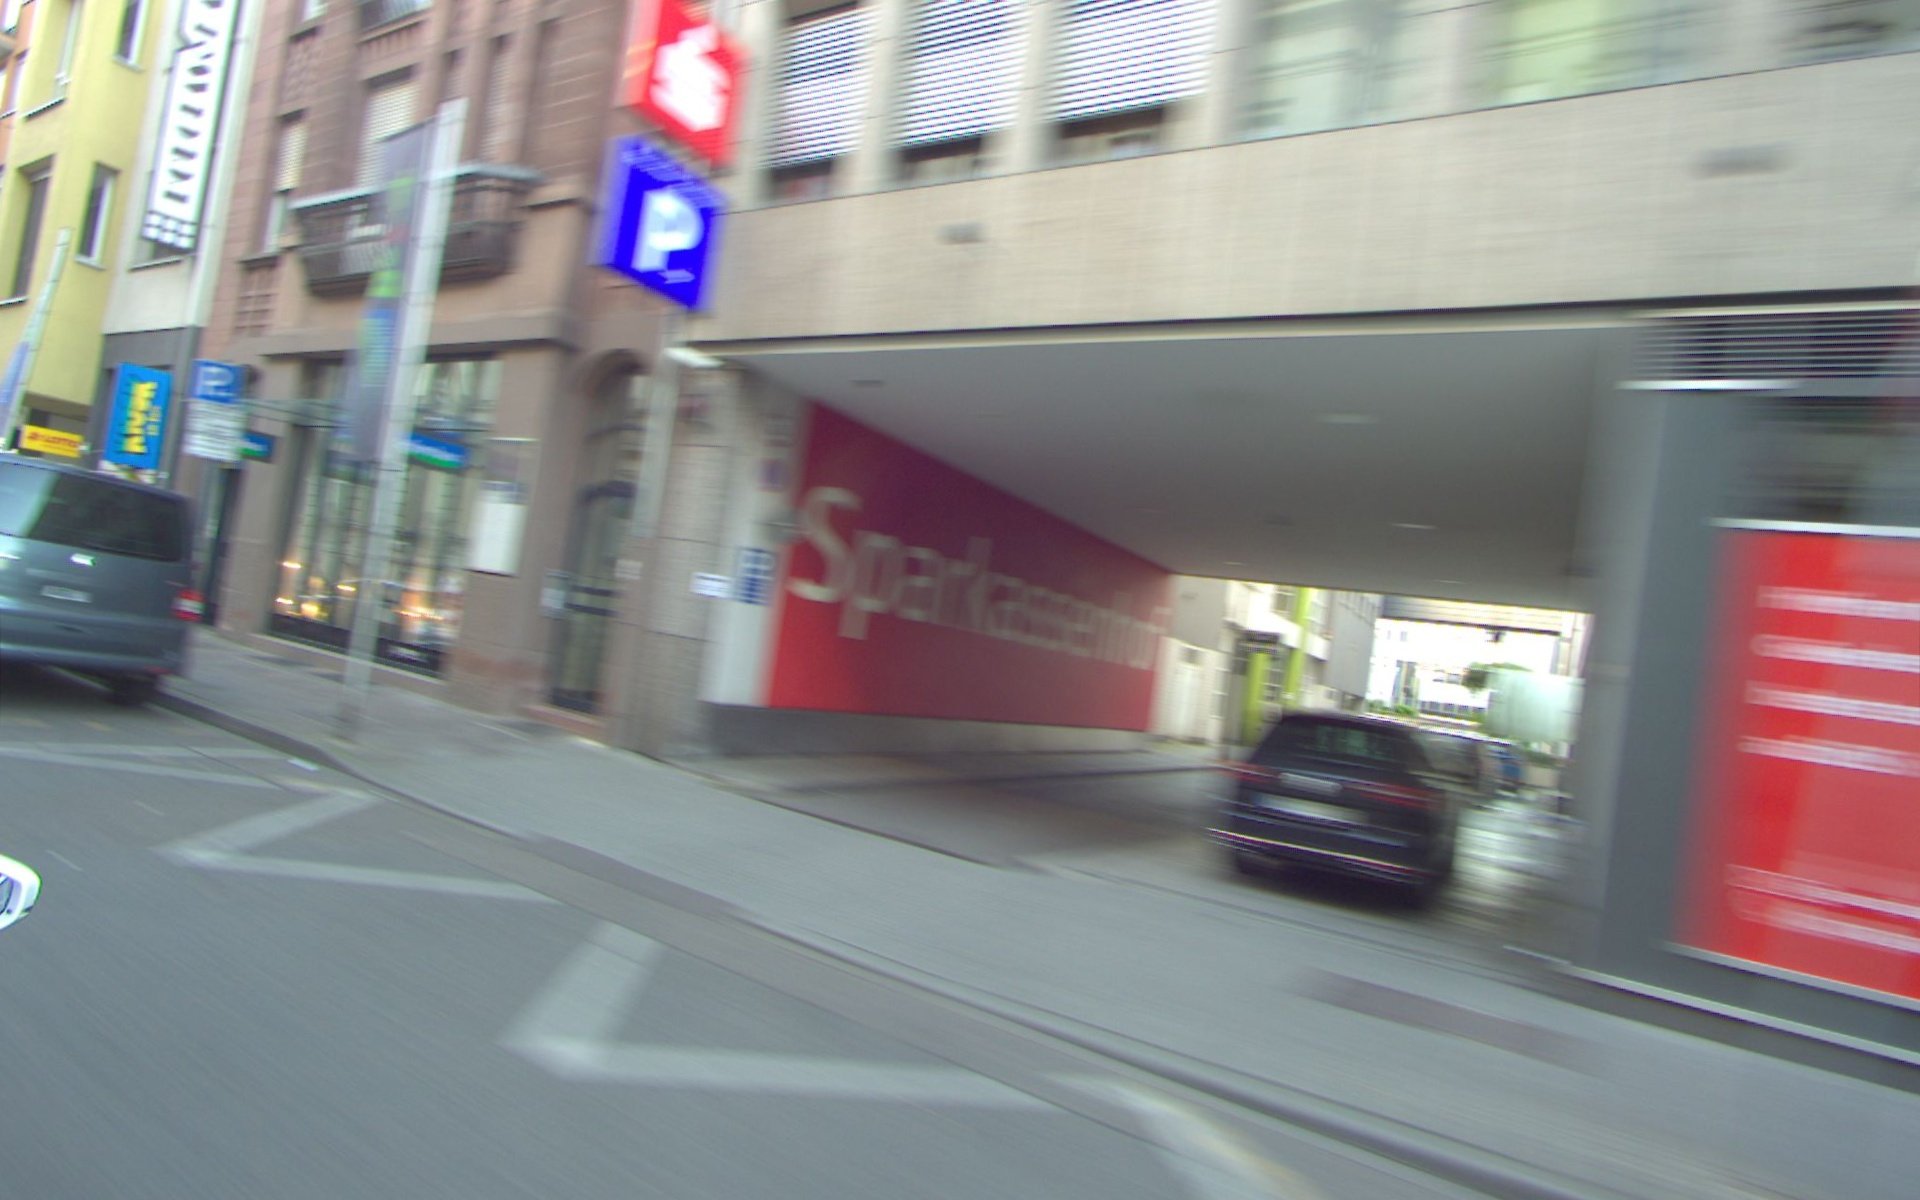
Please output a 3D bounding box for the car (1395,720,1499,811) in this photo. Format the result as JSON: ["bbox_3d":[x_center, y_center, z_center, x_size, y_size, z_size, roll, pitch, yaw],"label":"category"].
[{"bbox_3d":[10.735,3.597,22.039,1.676,1.575,3.688,6,-5,30],"label":"car"}]

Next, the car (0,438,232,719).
[{"bbox_3d":[-9.201,-0.339,9.422,4.970,2.079,1.852,6,-4,32],"label":"car"}]

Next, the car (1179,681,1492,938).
[{"bbox_3d":[3.677,1.760,9.244,1.885,1.517,4.417,6,-5,30],"label":"car"}]
